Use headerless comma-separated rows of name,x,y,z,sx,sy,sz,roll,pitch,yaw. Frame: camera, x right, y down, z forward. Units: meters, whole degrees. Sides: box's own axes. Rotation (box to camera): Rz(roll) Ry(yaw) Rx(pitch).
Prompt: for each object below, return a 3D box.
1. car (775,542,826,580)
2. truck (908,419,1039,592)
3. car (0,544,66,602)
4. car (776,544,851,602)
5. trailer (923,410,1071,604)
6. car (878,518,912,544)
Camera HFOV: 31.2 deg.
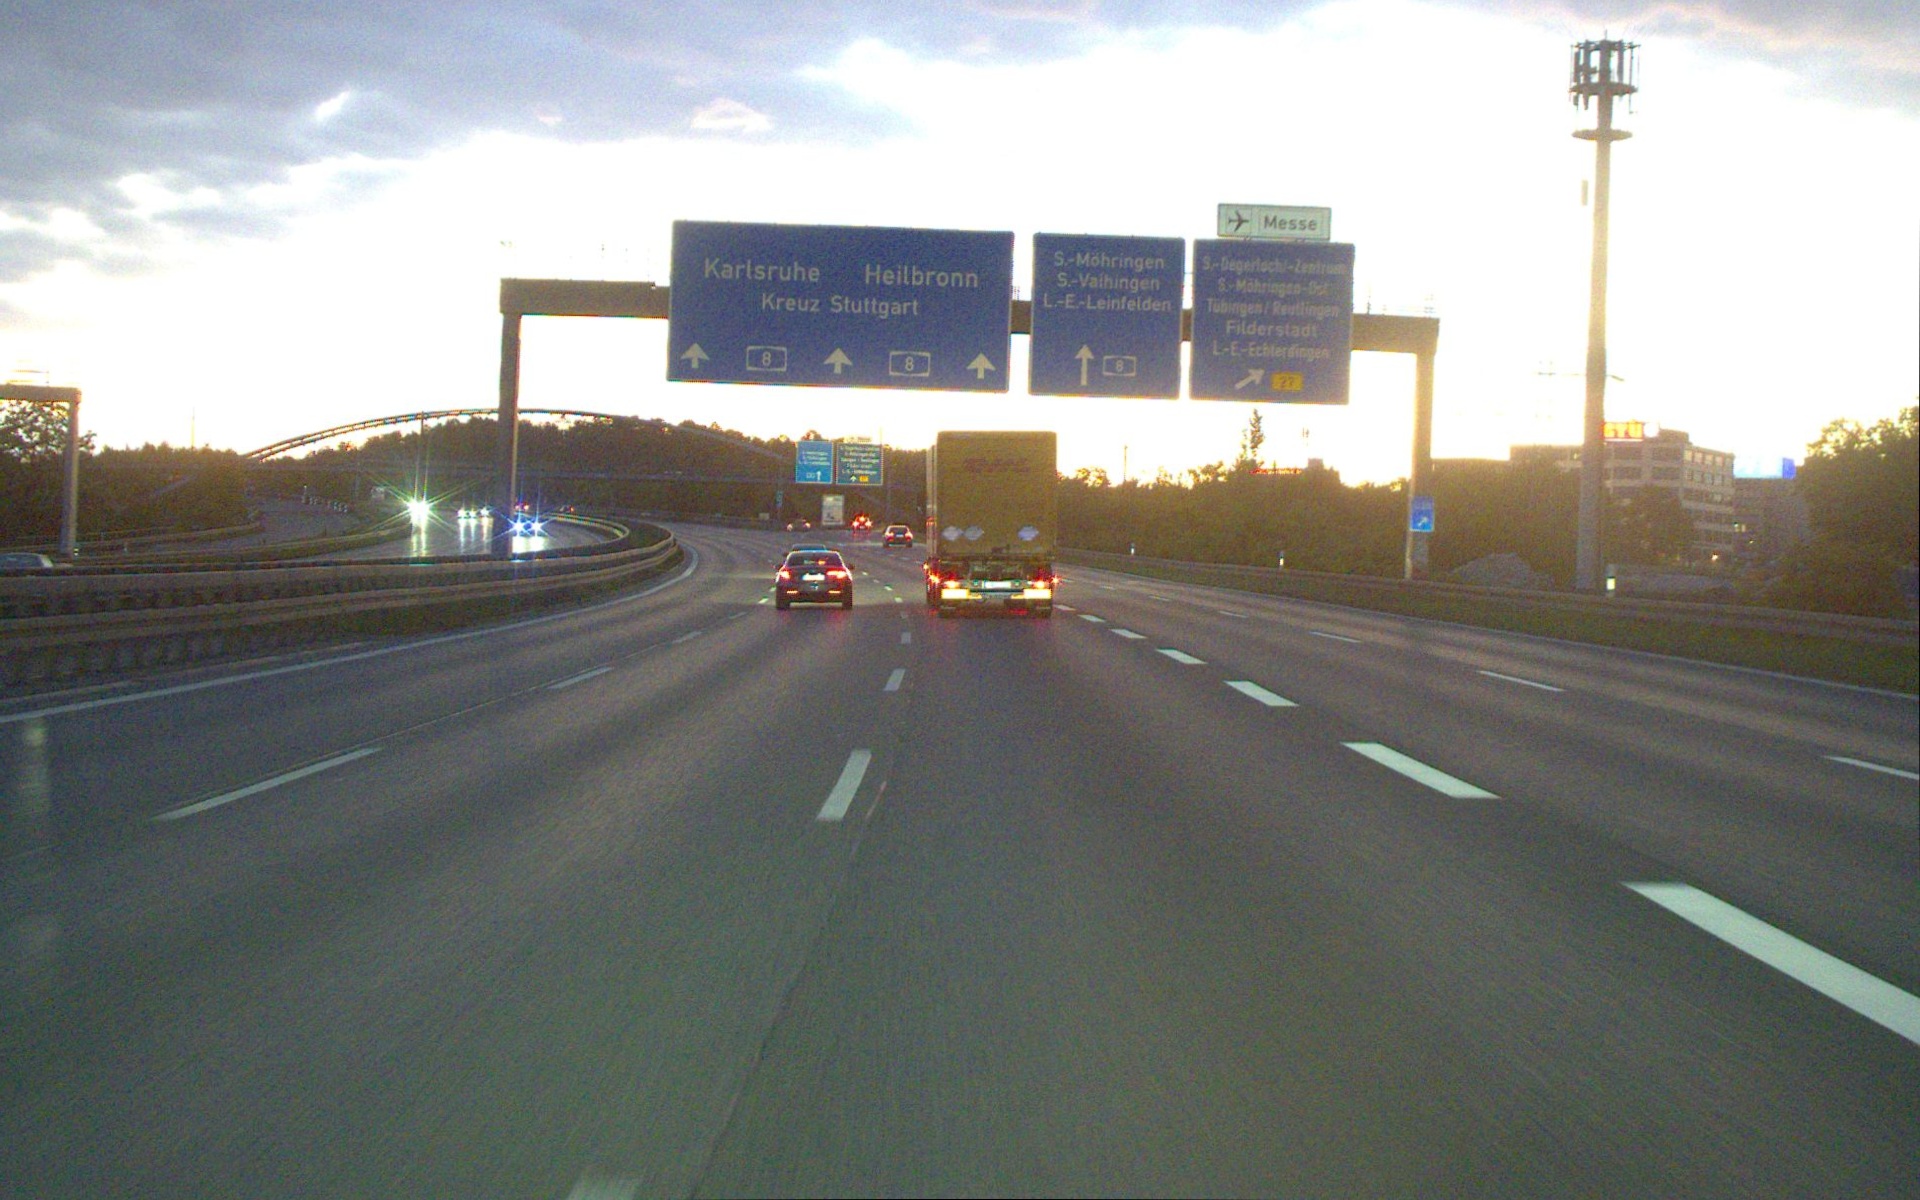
car,-6.077,-1.465,131.271,1.689,1.396,3.408,0,0,1
truck,0.236,-2.373,86.397,2.690,4.057,10.522,1,2,-3
car,-24.192,-0.700,87.161,1.993,1.399,4.330,1,1,-2
car,-3.628,-0.664,84.755,1.689,1.396,3.409,1,0,-5
trailer,0.728,-2.081,76.755,2.721,4.057,8.832,1,2,-3
car,-4.525,-4.801,239.410,1.993,1.711,4.001,1,0,-6
